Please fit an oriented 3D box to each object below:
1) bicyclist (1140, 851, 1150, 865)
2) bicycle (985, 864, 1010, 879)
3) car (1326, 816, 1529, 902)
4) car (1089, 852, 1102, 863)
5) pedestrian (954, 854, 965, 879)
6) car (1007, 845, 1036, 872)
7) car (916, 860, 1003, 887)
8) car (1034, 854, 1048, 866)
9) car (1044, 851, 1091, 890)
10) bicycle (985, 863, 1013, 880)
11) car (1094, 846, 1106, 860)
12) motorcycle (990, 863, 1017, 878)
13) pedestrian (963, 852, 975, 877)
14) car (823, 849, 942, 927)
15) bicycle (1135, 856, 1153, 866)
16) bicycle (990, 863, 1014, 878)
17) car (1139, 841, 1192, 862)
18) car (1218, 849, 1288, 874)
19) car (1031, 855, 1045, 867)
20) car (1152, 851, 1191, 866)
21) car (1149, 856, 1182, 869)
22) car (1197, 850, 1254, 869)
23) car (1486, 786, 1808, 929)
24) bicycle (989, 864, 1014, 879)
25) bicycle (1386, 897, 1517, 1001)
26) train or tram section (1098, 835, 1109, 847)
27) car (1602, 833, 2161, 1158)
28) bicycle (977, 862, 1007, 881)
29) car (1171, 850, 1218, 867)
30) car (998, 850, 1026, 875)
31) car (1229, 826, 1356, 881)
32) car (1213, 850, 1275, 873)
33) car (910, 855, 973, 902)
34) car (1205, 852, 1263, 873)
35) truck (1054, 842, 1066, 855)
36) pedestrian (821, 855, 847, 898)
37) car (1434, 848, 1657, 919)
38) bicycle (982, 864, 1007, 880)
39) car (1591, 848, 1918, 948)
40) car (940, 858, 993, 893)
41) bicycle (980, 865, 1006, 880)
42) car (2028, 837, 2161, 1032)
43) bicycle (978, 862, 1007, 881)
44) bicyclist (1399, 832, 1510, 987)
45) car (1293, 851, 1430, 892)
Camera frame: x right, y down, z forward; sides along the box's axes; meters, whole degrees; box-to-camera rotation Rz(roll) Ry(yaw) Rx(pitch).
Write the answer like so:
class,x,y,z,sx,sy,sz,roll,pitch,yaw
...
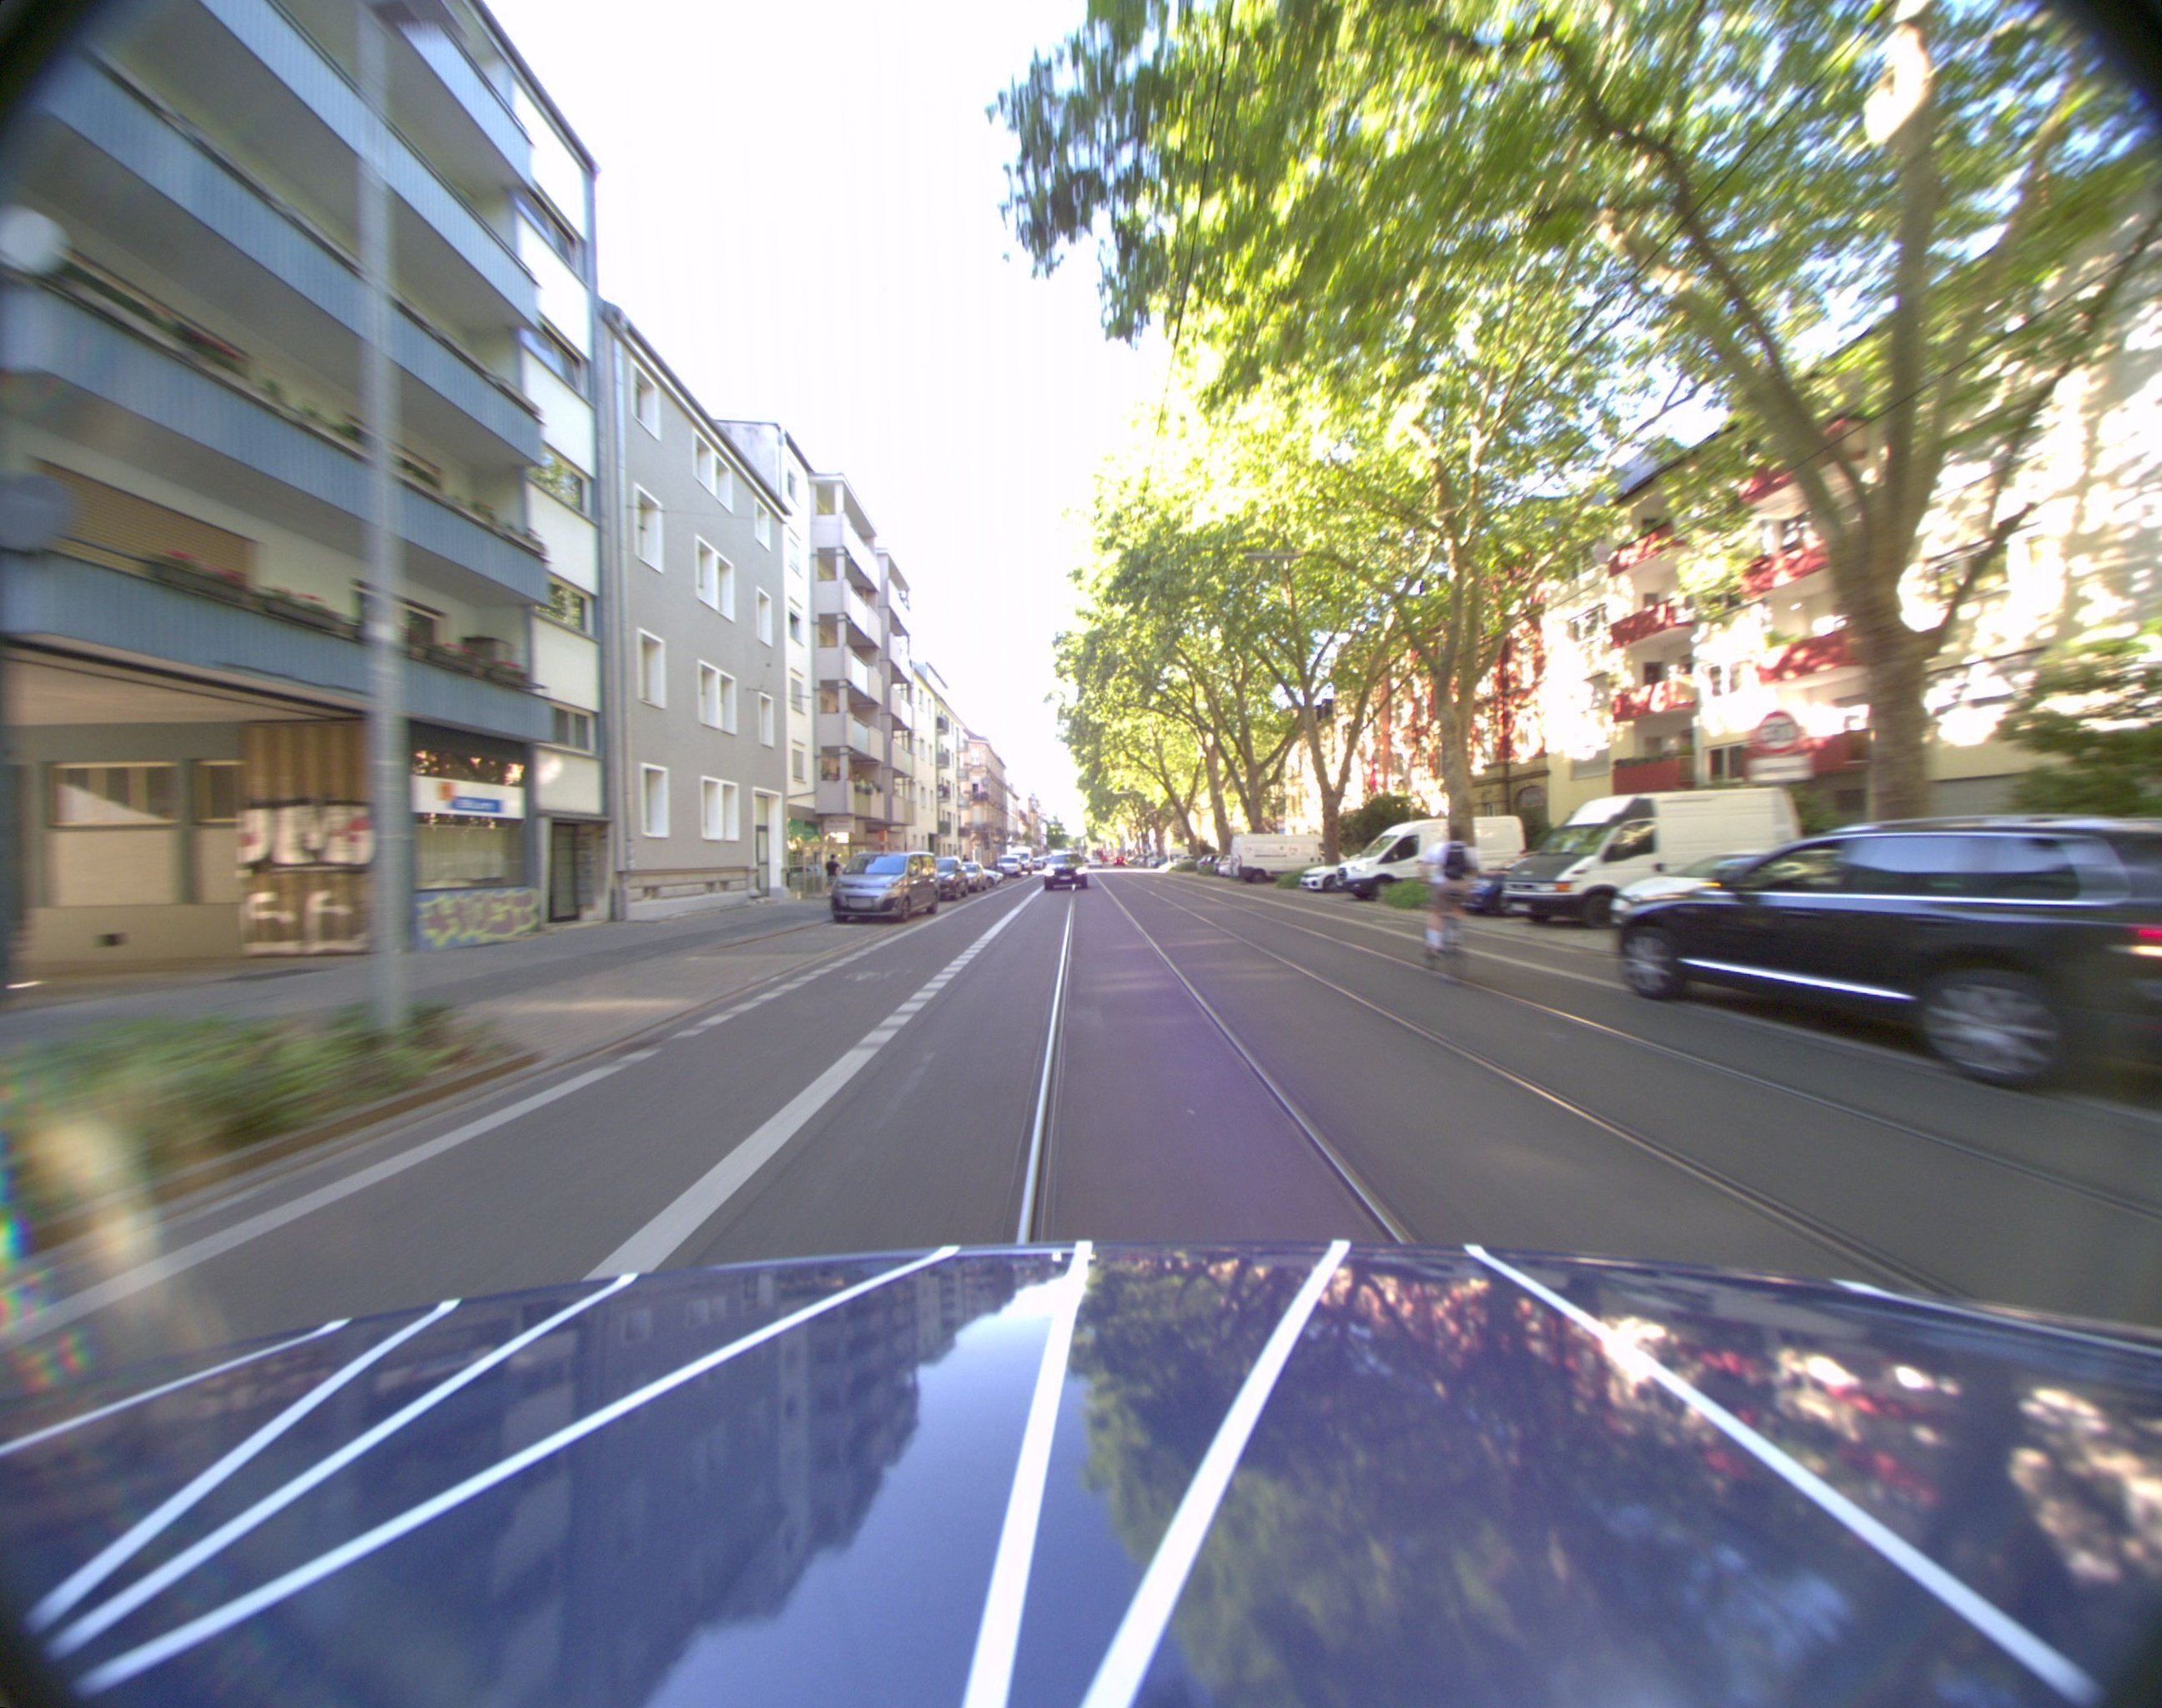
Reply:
class,x,y,z,sx,sy,sz,roll,pitch,yaw
bicyclist,7.121,0.488,84.844,0.870,1.517,0.735,-1,1,-20
bicycle,-5.698,1.177,52.108,1.657,0.981,0.457,1,1,0
car,10.698,0.142,23.762,5.373,2.463,2.057,-1,1,0
car,1.884,0.429,99.802,1.722,1.351,4.469,-1,0,1
pedestrian,-8.976,0.927,56.214,0.626,1.812,1.082,0,1,2
car,-5.583,0.387,72.047,2.154,2.481,6.087,-2,1,0
car,-6.708,1.045,41.895,4.630,1.429,1.863,0,0,-11
car,-5.172,0.768,98.871,1.606,1.412,4.012,1,1,0
car,-0.562,0.705,36.176,1.949,1.694,4.630,-1,0,2
bicycle,-5.533,1.178,51.144,1.798,1.141,0.704,1,1,0
car,3.305,-0.179,128.770,1.922,2.214,4.960,-1,0,2
motorcycle,-5.545,1.167,54.118,1.820,1.074,0.618,0,1,23
pedestrian,-8.278,0.779,56.182,0.711,1.812,1.082,0,1,2
car,-5.336,0.832,21.200,1.863,1.879,4.924,-1,0,2
bicycle,6.988,0.792,84.762,1.878,1.025,0.627,-1,0,-20
bicycle,-5.519,1.154,53.102,1.657,1.049,0.457,1,1,0
car,11.090,-0.287,100.285,6.618,2.393,2.000,-3,0,0
car,10.819,0.467,47.870,3.997,1.487,1.830,-1,0,1
car,-5.220,0.867,93.010,1.653,1.412,4.058,1,1,-2
car,10.775,0.560,90.946,4.331,1.702,1.816,-1,0,-3
car,10.407,1.011,93.768,3.779,1.509,1.747,-1,0,-3
car,11.357,0.419,59.696,4.000,1.452,1.769,-1,0,-9
car,11.057,0.047,15.068,4.958,2.552,2.081,-1,1,-4
bicycle,-5.499,1.199,52.615,1.657,0.981,0.457,1,1,0
bicycle,4.214,1.037,8.806,0.522,0.956,1.928,-1,0,-1
train or tram section,6.748,-3.919,228.850,2.944,3.598,11.061,-3,1,1
car,6.608,0.734,5.923,1.998,1.690,4.484,0,0,0
bicycle,-5.758,1.137,49.076,1.897,1.185,0.457,1,1,0
car,10.327,0.422,69.168,3.997,1.452,1.878,-1,1,-1
car,-5.530,0.683,61.556,1.863,1.810,4.349,2,1,-1
car,10.622,-0.006,38.397,5.755,2.521,2.162,-2,0,0
car,10.813,0.497,50.531,3.802,1.452,1.704,-1,1,1
car,-5.417,0.901,29.941,1.771,1.695,4.282,-1,0,-2
car,11.461,0.610,57.107,3.996,1.452,1.704,-1,0,2
truck,-5.418,-1.465,196.368,2.842,3.145,7.291,-3,1,0
pedestrian,-9.859,0.889,30.388,0.758,1.710,0.720,-1,1,1
car,10.698,0.647,17.726,4.029,1.457,1.872,-2,0,1
bicycle,-5.752,1.208,50.542,1.657,1.015,0.457,1,1,0
car,11.135,0.678,12.774,3.864,1.469,1.860,-1,0,-1
car,-5.456,0.968,36.752,1.728,1.516,4.513,-1,0,2
bicycle,-5.798,1.213,50.061,1.657,0.960,0.457,1,1,0
car,11.140,0.644,6.416,3.997,1.638,1.893,-1,0,-1
bicycle,-5.778,1.128,49.562,1.828,1.185,0.457,1,1,0
bicyclist,4.259,0.605,8.737,0.786,1.668,0.957,-1,1,-1
car,10.468,0.635,28.611,4.421,1.376,1.933,-2,0,0
